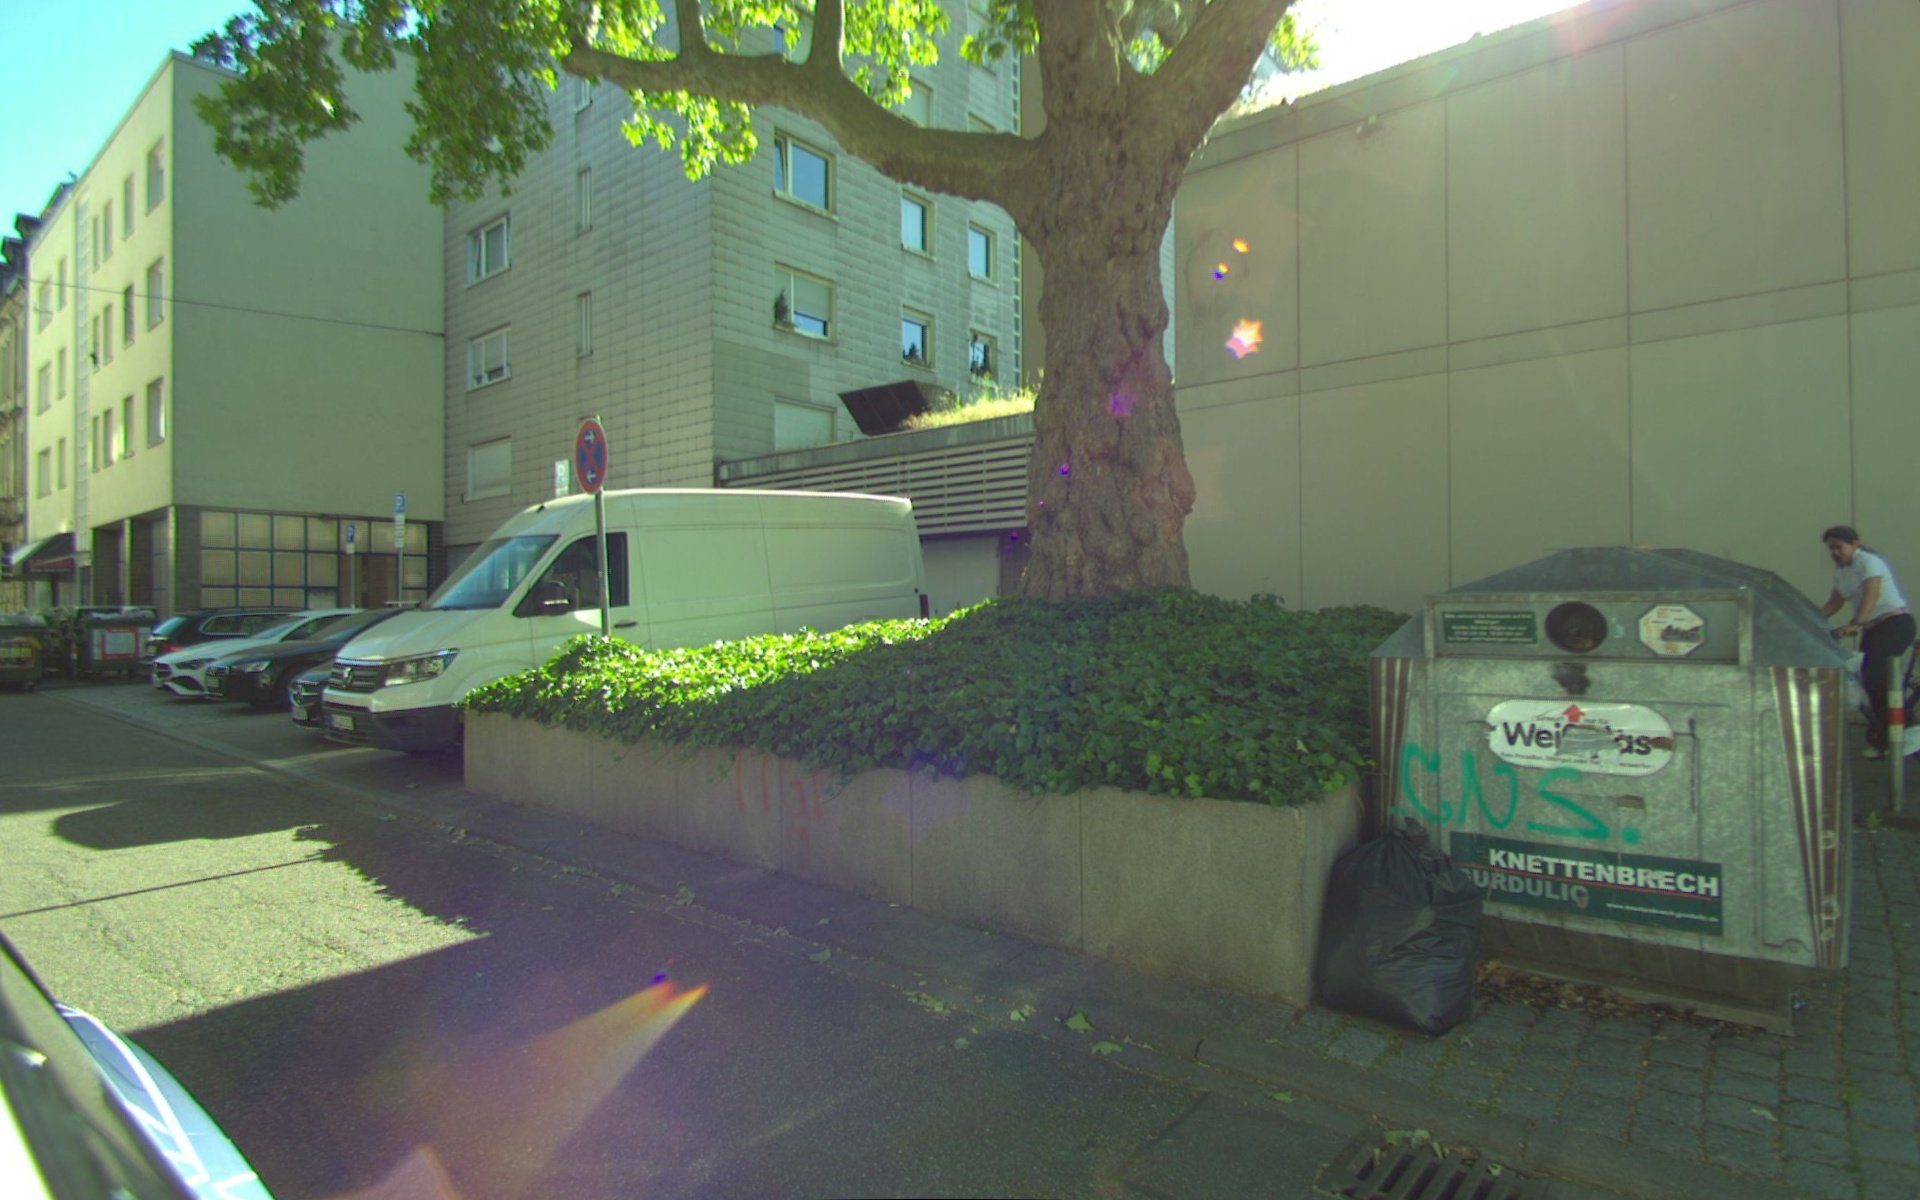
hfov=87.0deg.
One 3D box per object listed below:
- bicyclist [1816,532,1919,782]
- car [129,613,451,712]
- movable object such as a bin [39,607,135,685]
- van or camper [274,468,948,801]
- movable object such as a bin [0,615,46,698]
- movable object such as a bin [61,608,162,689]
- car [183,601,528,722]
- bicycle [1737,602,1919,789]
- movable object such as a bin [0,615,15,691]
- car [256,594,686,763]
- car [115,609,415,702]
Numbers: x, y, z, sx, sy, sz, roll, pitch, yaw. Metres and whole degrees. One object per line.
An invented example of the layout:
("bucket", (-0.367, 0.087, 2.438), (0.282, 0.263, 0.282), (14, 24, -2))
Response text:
("bicyclist", (6.192, 0.367, 6.808), (0.532, 1.596, 0.698), (-1, -1, 32))
("car", (-11.313, 0.971, 17.418), (1.595, 1.474, 4.367), (-2, -1, 34))
("movable object such as a bin", (-17.857, 0.914, 20.700), (1.515, 1.512, 1.207), (-1, -1, 38))
("van or camper", (-3.182, 0.127, 11.119), (1.999, 2.593, 6.835), (-2, 2, 40))
("movable object such as a bin", (-18.174, 1.039, 19.016), (1.875, 1.512, 1.225), (-1, -2, 40))
("movable object such as a bin", (-16.683, 0.922, 19.910), (1.193, 1.512, 1.312), (-1, -1, 38))
("car", (-9.263, 0.854, 15.884), (1.694, 1.629, 4.367), (-1, -1, 34))
("bicycle", (6.337, 0.608, 6.719), (1.709, 1.162, 0.798), (-2, 0, 27))
("movable object such as a bin", (-20.153, 1.072, 20.472), (1.923, 1.512, 1.231), (-1, -1, 38))
("car", (-5.660, 0.779, 12.225), (1.697, 1.545, 4.361), (-1, 1, 39))
("car", (-12.909, 0.955, 19.087), (1.694, 1.545, 4.367), (-2, -1, 34))
